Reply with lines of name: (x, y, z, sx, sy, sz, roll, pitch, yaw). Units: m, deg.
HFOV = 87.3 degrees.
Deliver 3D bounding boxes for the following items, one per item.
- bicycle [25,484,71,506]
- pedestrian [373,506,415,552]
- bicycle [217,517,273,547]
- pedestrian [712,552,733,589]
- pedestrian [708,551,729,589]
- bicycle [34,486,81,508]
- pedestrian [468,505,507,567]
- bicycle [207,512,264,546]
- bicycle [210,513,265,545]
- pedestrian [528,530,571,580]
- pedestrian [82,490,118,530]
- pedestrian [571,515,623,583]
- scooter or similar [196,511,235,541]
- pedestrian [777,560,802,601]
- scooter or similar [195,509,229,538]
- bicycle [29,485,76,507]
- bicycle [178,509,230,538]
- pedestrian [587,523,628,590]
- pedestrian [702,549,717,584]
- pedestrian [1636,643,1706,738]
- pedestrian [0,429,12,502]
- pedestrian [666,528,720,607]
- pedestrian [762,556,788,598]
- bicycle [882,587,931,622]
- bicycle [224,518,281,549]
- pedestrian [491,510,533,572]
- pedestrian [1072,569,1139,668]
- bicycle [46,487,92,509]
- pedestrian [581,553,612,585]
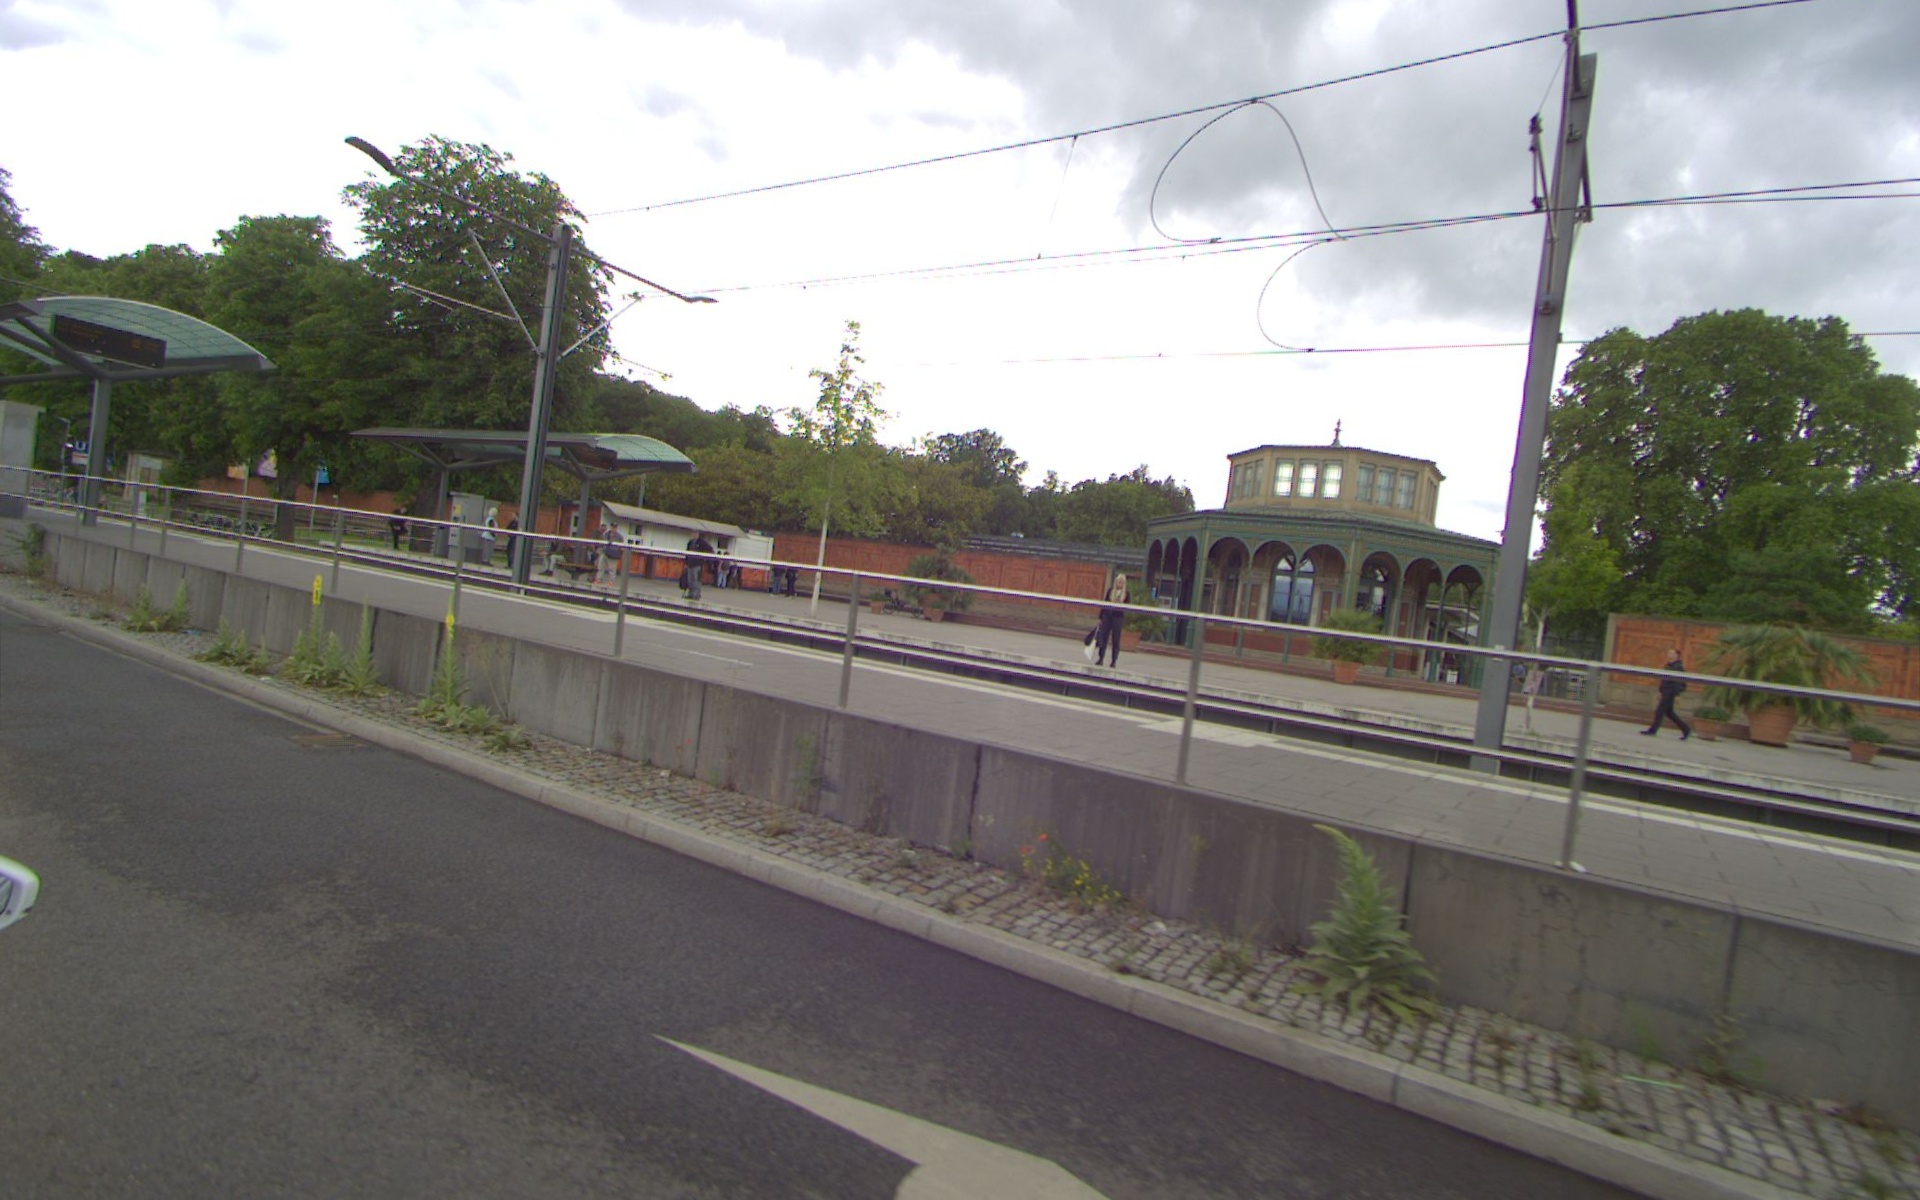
bicycle: (-53.892, -6.215, 59.478, 0.522, 0.988, 1.913, 8, 1, 34)
pedestrian: (-18.373, -2.300, 32.653, 0.952, 1.338, 0.675, 7, -1, 32)
bicycle: (-31.690, -3.001, 44.613, 0.524, 0.974, 1.876, 7, -2, 34)
pedestrian: (-10.204, -1.272, 43.171, 0.453, 1.504, 0.485, 7, -1, 36)
pedestrian: (-10.476, -1.318, 43.652, 0.453, 1.553, 0.485, 7, -1, 36)
bicycle: (-52.603, -6.000, 58.623, 0.522, 0.988, 1.913, 8, 1, 34)
pedestrian: (-13.817, -1.873, 29.426, 0.664, 1.696, 0.545, 8, -1, 30)
bicycle: (-32.395, -3.173, 45.013, 0.524, 1.152, 1.876, 7, -2, 34)
bicycle: (-32.924, -3.227, 45.865, 0.524, 1.152, 1.876, 7, -2, 34)
pedestrian: (-11.097, -1.223, 27.202, 0.665, 1.204, 0.658, 7, -2, 35)
pedestrian: (-38.570, -4.011, 45.143, 0.763, 1.630, 0.835, 7, 2, 11)
pedestrian: (-10.039, -1.405, 27.834, 0.748, 1.696, 0.863, 8, -1, 23)
scooter or similar: (-34.257, -3.405, 46.286, 0.328, 1.152, 1.274, 7, -2, 41)
pedestrian: (-7.215, -0.823, 42.573, 0.612, 1.601, 0.586, 8, -1, 23)
scooter or similar: (-35.648, -3.648, 47.937, 1.155, 1.152, 0.330, 9, -2, -33)
bicycle: (-53.155, -6.072, 58.936, 0.522, 0.988, 1.913, 8, 1, 34)
bicycle: (-35.118, -3.542, 46.755, 0.476, 1.045, 1.767, 7, -2, 34)
pedestrian: (-9.342, -1.153, 26.687, 0.665, 1.638, 0.525, 7, -1, 35)
pedestrian: (-11.016, -1.482, 44.270, 0.311, 1.504, 0.342, 7, -1, 36)
pedestrian: (15.136, 1.928, 21.437, 0.935, 1.859, 0.549, 8, -1, 27)
pedestrian: (-18.510, -2.431, 18.845, 0.720, 1.719, 0.771, 10, 0, 35)
pedestrian: (-6.810, -0.826, 25.682, 0.935, 1.859, 0.633, 7, -1, 35)
pedestrian: (-7.743, -0.964, 42.089, 0.611, 1.601, 0.657, 8, -1, 20)
bicycle: (-2.043, 0.177, 38.671, 1.684, 1.073, 0.564, 8, -1, 3)
bicycle: (-31.091, -2.915, 44.233, 0.524, 0.974, 1.876, 7, -2, 34)
pedestrian: (-13.329, -1.738, 29.913, 0.665, 1.696, 0.675, 8, -1, 30)
pedestrian: (2.732, 0.348, 18.877, 0.852, 1.706, 0.634, 7, -1, 33)
bicycle: (-51.556, -5.897, 58.226, 0.522, 0.907, 1.913, 8, 1, 34)
pedestrian: (-9.910, -0.846, 27.435, 0.418, 0.749, 0.561, 7, -2, 43)
